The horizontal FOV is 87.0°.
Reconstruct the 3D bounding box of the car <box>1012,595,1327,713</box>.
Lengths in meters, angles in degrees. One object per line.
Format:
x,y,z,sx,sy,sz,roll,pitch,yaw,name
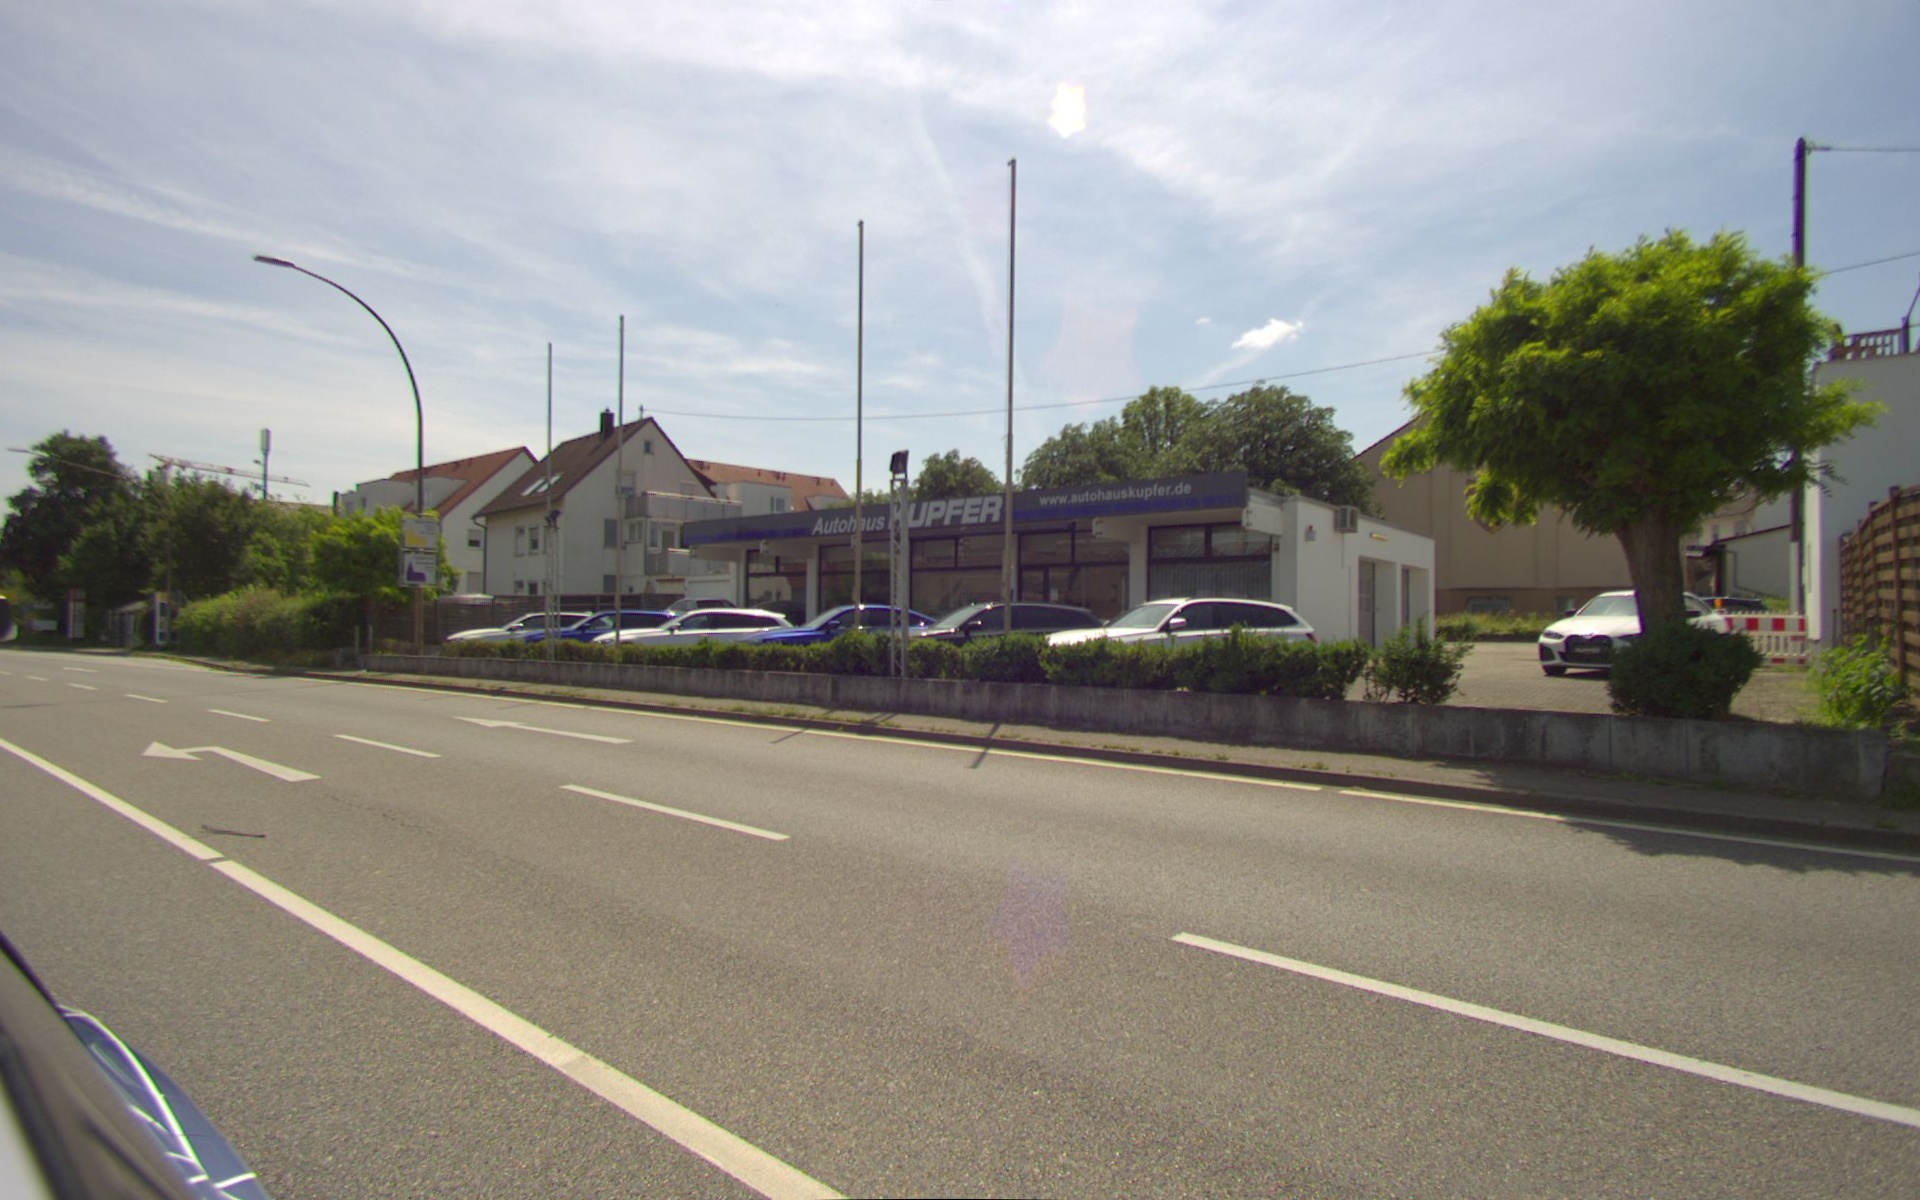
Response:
3.087,0.705,14.850,4.265,1.471,1.861,-1,0,-27,car

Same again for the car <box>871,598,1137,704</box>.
0.769,0.809,17.527,4.187,1.557,1.857,-1,0,-25,car

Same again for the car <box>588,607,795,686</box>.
-6.016,0.984,22.625,4.239,1.530,2.006,-1,0,-21,car

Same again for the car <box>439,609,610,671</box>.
-12.069,1.068,28.248,4.192,1.541,2.007,-1,0,-22,car

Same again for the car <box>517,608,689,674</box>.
-9.027,0.985,25.635,3.931,1.475,2.007,-1,0,-22,car

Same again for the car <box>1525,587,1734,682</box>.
11.560,0.532,17.395,3.936,1.451,1.887,0,0,-38,car

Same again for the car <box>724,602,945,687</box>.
-2.490,0.825,19.977,3.931,1.453,1.860,-1,0,-23,car

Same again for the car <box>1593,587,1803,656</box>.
18.199,0.503,25.059,3.936,1.529,1.948,-1,0,-9,car
